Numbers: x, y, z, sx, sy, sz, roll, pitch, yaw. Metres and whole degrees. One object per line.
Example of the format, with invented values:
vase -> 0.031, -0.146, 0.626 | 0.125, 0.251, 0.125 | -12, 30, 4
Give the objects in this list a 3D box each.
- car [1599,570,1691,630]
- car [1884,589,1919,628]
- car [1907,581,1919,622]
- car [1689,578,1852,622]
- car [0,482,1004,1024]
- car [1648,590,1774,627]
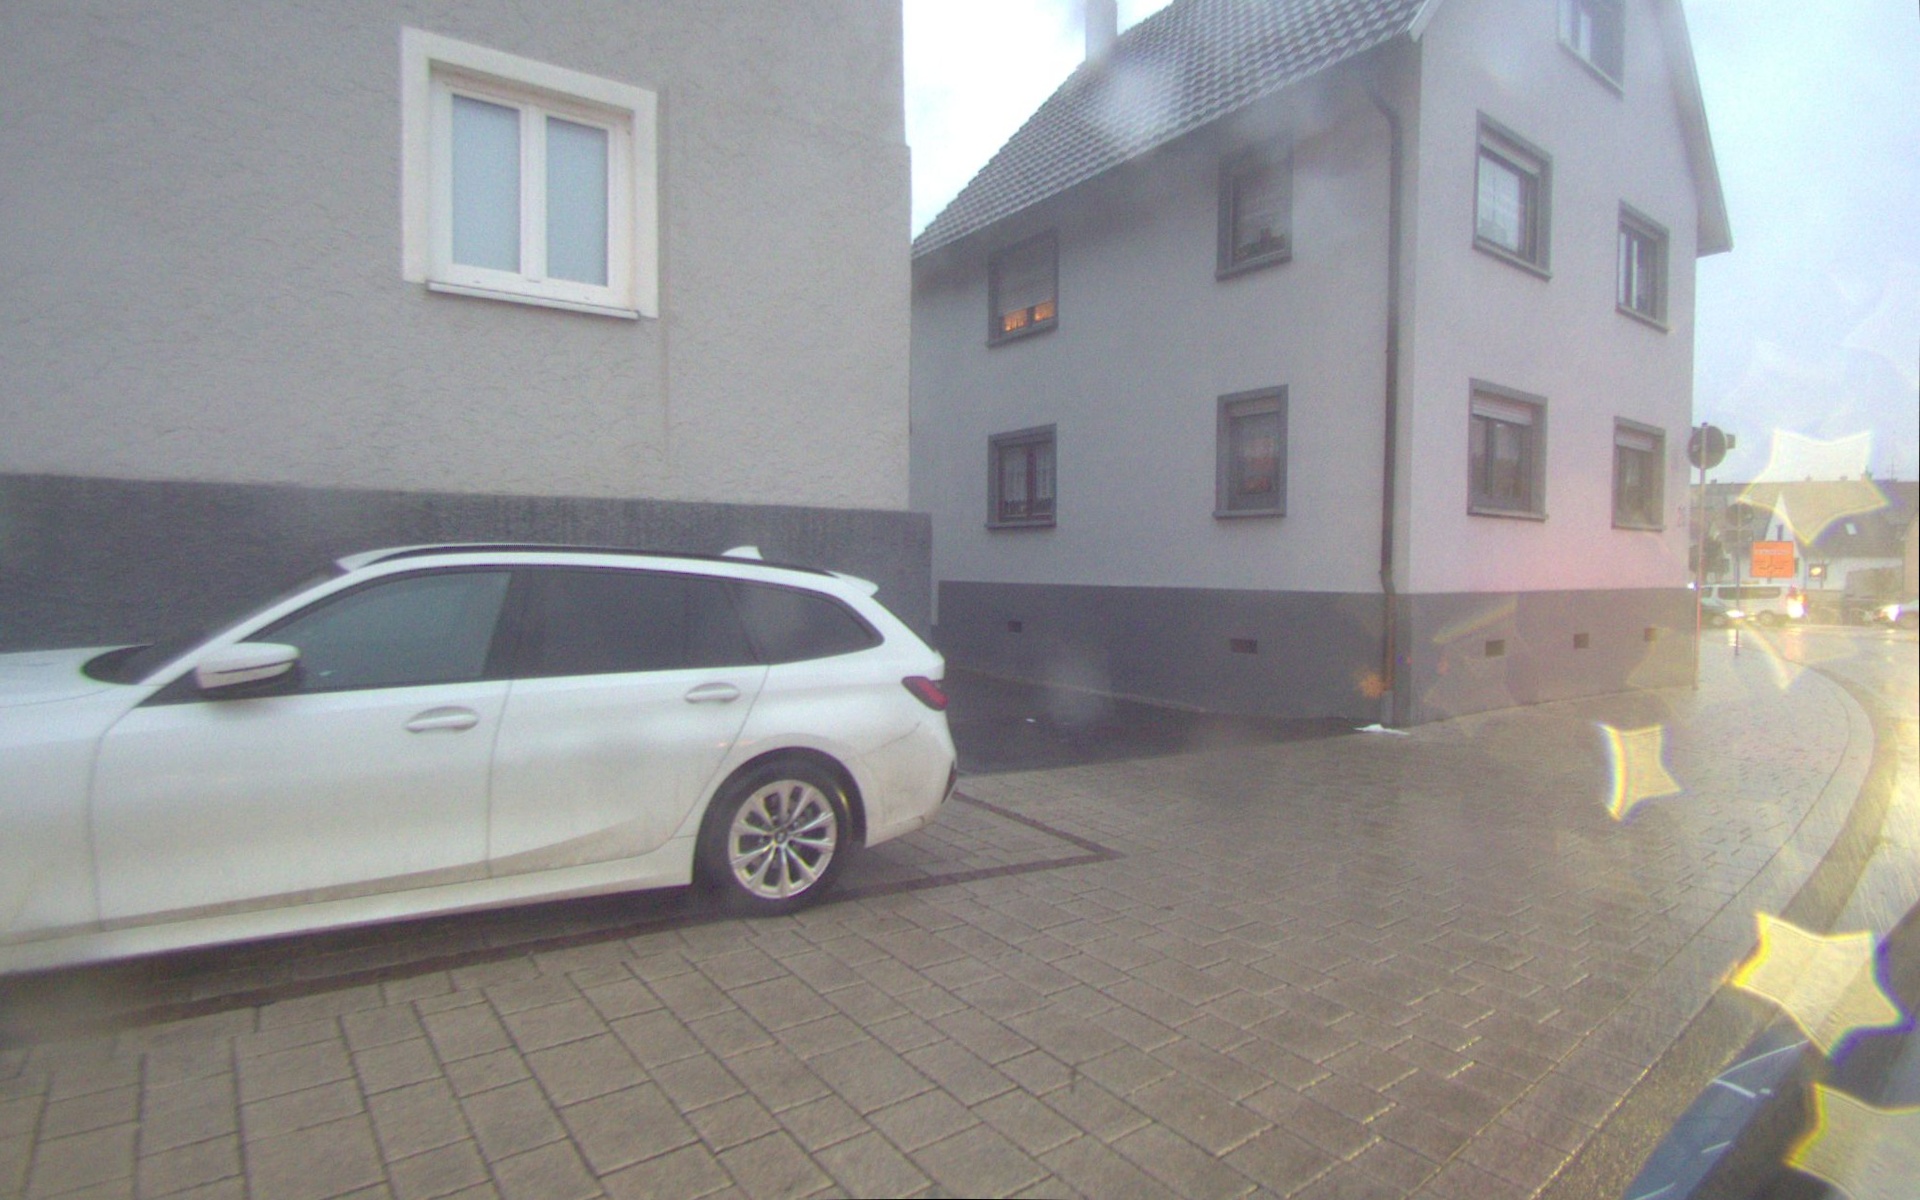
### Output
car -> 24.878, -0.031, 36.922 | 1.959, 1.984, 4.810 | 1, 1, 25
car -> 43.757, 0.489, 44.069 | 4.728, 1.656, 1.980 | 4, 1, 29
car -> 41.525, 0.117, 40.744 | 4.393, 1.652, 2.142 | 1, 2, 20
car -> 38.413, -0.022, 48.144 | 1.955, 1.970, 5.774 | 0, 0, -38
car -> -2.214, 0.382, 4.108 | 4.452, 1.484, 1.892 | 1, 2, -31
car -> 33.407, 0.322, 45.149 | 1.852, 1.524, 4.118 | 0, 1, -31
